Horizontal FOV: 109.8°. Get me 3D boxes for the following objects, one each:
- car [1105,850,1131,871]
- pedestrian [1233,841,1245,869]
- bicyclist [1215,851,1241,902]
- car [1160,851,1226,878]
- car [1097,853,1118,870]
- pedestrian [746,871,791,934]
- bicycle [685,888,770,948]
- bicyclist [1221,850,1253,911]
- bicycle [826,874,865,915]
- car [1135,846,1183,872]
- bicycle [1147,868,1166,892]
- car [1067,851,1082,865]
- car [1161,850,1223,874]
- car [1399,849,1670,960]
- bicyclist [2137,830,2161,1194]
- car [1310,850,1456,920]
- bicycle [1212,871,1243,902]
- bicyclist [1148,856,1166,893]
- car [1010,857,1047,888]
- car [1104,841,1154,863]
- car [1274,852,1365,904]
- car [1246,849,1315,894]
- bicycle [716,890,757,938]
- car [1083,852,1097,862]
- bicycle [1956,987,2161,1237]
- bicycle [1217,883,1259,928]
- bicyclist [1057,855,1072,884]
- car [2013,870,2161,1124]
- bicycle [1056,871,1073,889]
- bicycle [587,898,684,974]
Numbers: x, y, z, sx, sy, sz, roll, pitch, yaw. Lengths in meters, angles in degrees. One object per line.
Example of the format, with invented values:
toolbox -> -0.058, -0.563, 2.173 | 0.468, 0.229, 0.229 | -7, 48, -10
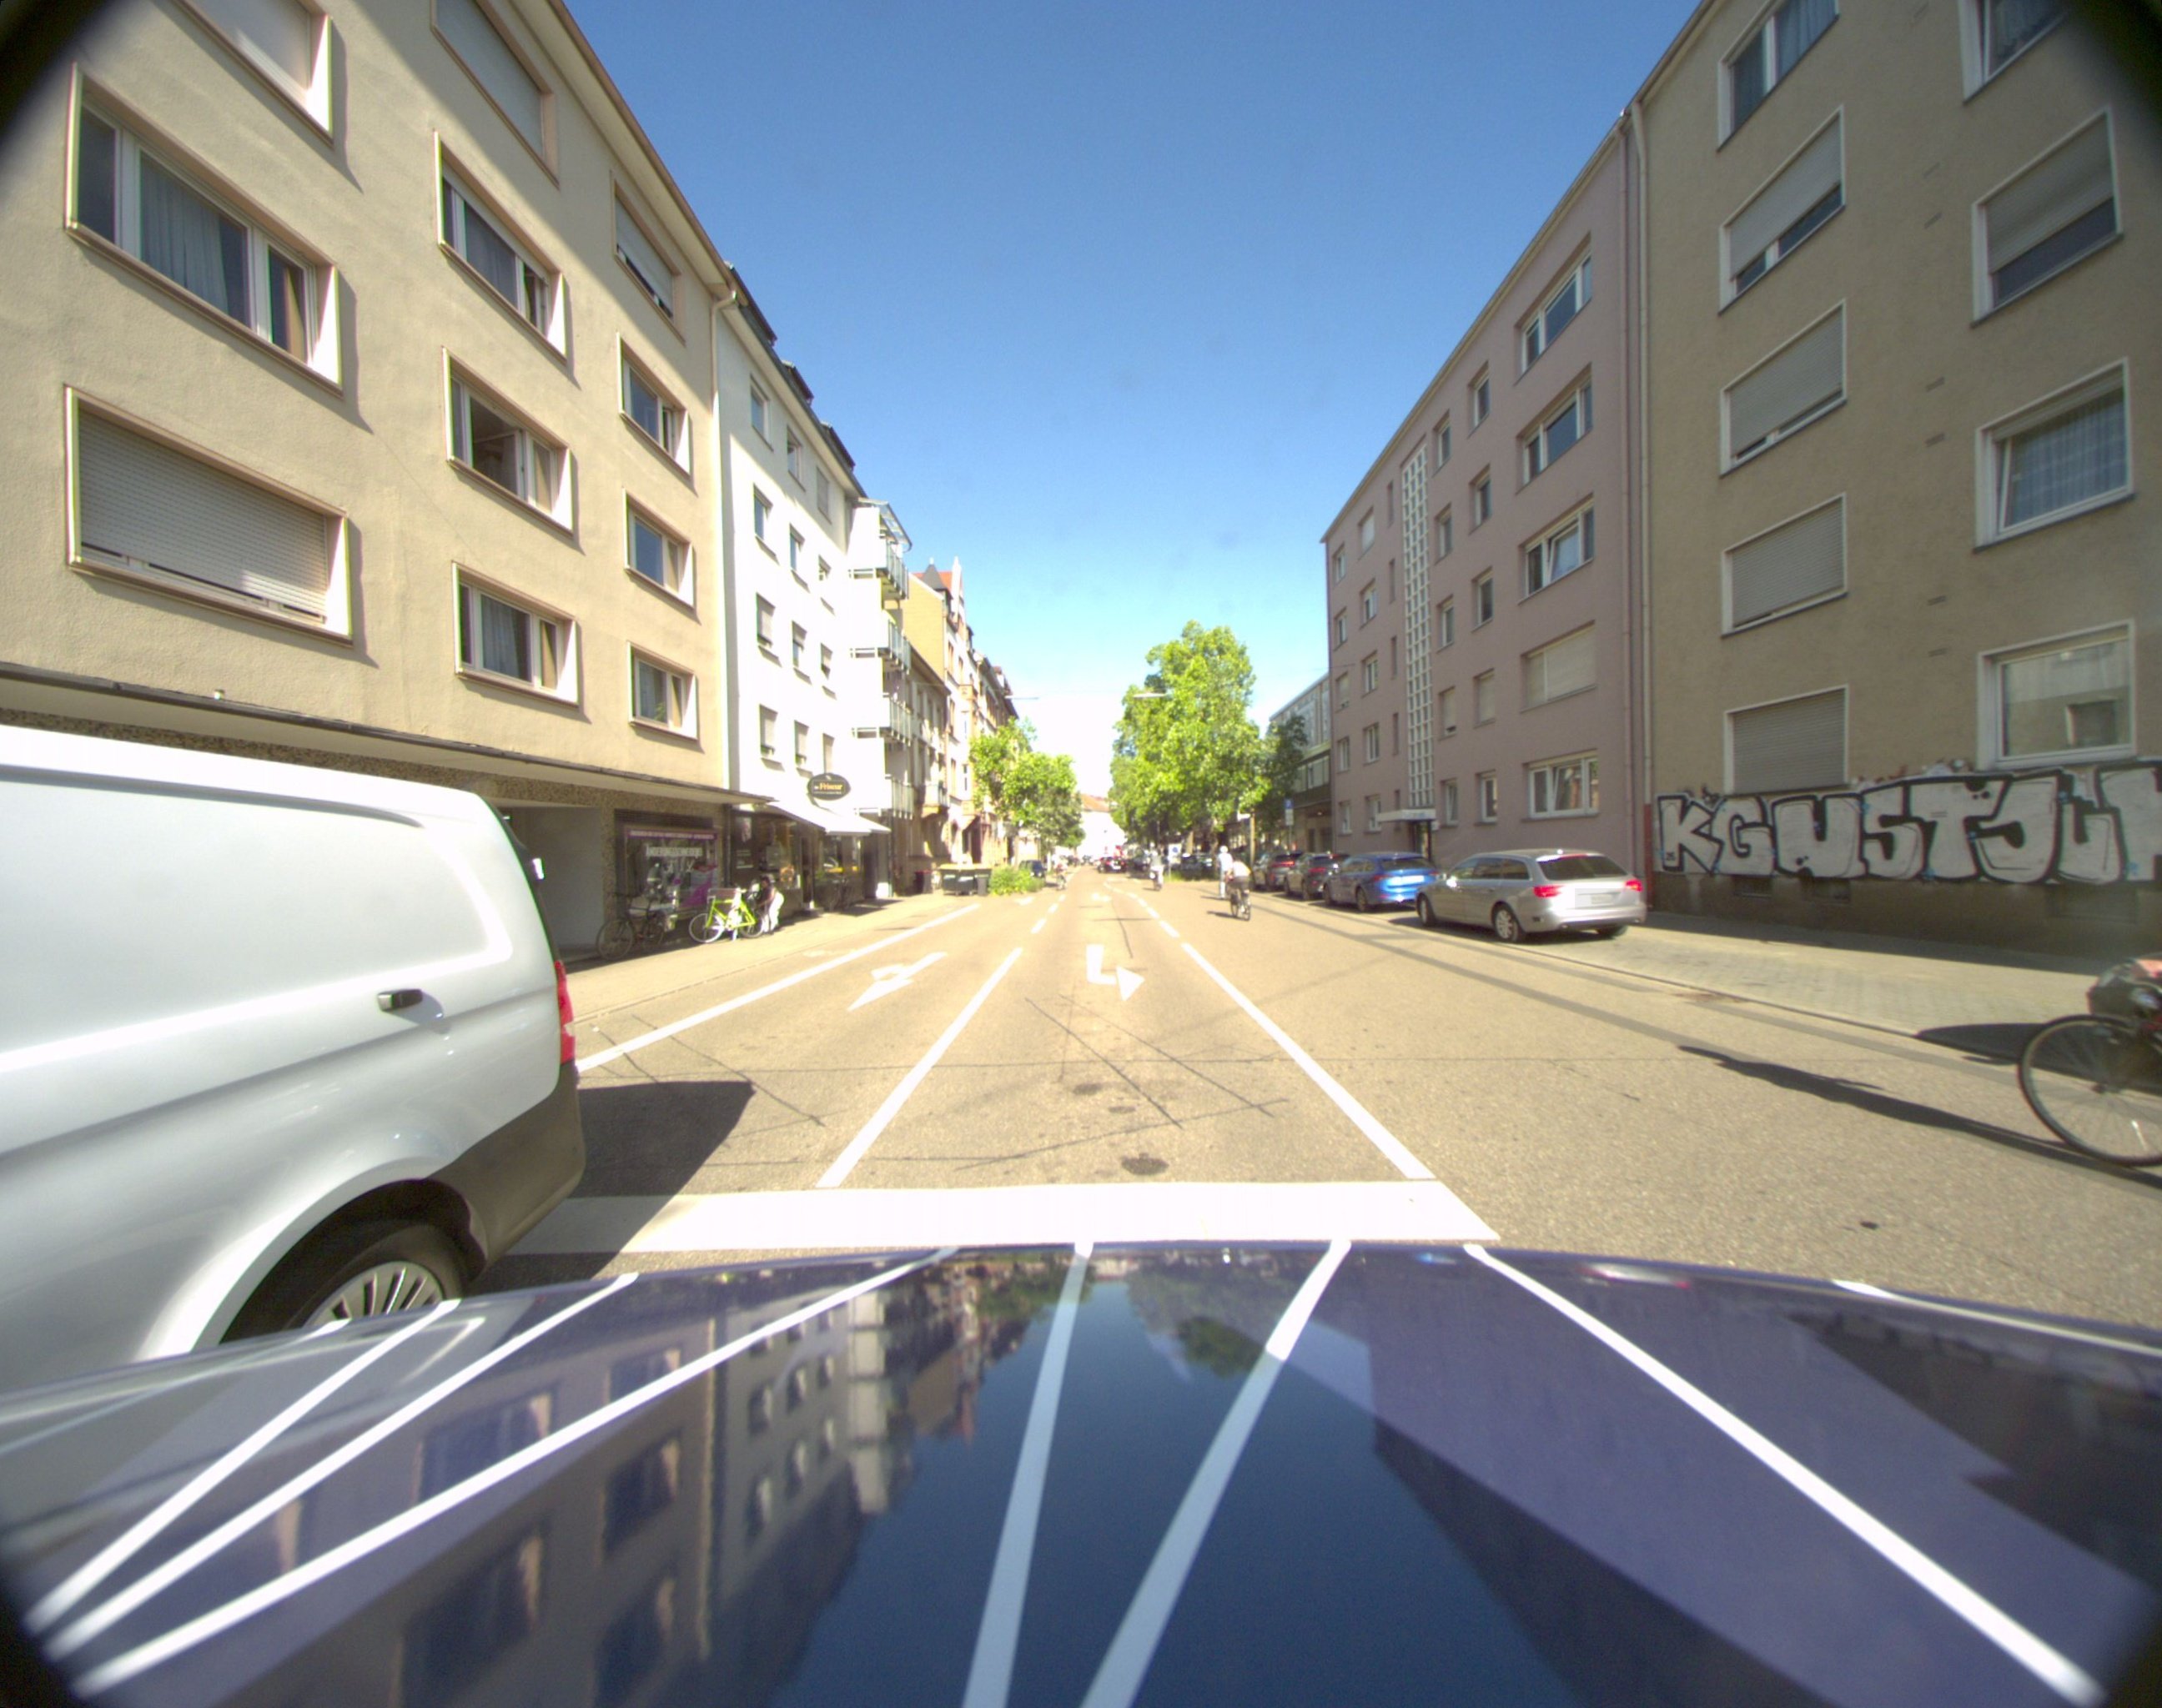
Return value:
car -> 2.962, 0.511, 62.056 | 1.911, 1.543, 4.000 | -2, 0, 1
pedestrian -> 10.078, 0.078, 48.506 | 0.623, 1.795, 0.502 | -2, 1, 2
bicyclist -> 4.790, 0.719, 24.807 | 0.681, 1.621, 0.899 | 0, 1, 1
car -> 7.097, 0.655, 48.456 | 3.996, 1.543, 1.913 | -2, 0, 3
car -> 2.451, 0.671, 71.224 | 1.911, 1.543, 4.000 | -2, 0, 1
pedestrian -> -7.346, 1.127, 17.894 | 0.776, 1.434, 0.625 | -1, 1, -4
bicycle -> -7.301, 1.292, 15.715 | 1.497, 1.100, 0.722 | -2, 1, -31
bicyclist -> 3.631, 0.612, 17.738 | 0.544, 1.383, 0.788 | -1, 1, -2
bicycle -> -7.278, 1.227, 23.517 | 0.598, 1.137, 1.774 | 1, 0, 1
car -> 6.417, 0.427, 62.919 | 3.875, 2.031, 1.913 | -2, 0, 3
bicycle -> 3.255, 1.119, 32.796 | 0.681, 0.946, 1.933 | 0, 0, 1
car -> -0.786, 0.464, 93.954 | 1.627, 1.586, 3.547 | -2, 0, 1
car -> 7.540, 0.547, 51.980 | 3.996, 1.543, 1.913 | -2, 0, 3
car -> 7.551, 0.722, 13.372 | 1.828, 1.494, 4.801 | -4, 0, 0
bicyclist -> 4.743, 0.652, 2.828 | 0.544, 1.512, 0.774 | -1, 1, 1
car -> 7.700, 0.712, 19.921 | 1.828, 1.494, 4.801 | -4, 0, 0
bicycle -> 4.787, 1.048, 24.876 | 0.681, 0.946, 1.933 | 0, 0, 1
bicyclist -> 3.257, 0.857, 32.659 | 0.681, 1.567, 0.899 | 0, 1, 1
car -> -2.820, 0.967, 41.350 | 1.627, 1.586, 3.547 | -2, 0, 1
car -> 5.712, -0.262, 90.610 | 5.565, 2.379, 1.975 | -2, 1, -17
car -> 7.652, 0.717, 24.768 | 1.727, 1.459, 4.158 | -4, 0, 3
car -> 7.837, 0.653, 30.195 | 1.727, 1.567, 4.158 | -4, 0, 3
bicycle -> -7.703, 1.324, 17.043 | 0.376, 0.977, 1.175 | -1, 0, -1
car -> 1.247, 0.447, 103.543 | 1.627, 1.270, 3.547 | -2, 0, 3
bicycle -> 4.756, 1.141, 2.989 | 0.544, 0.897, 1.826 | -1, 0, 1
bicycle -> 3.644, 1.175, 17.751 | 0.544, 0.897, 1.826 | -1, 0, -2
bicyclist -> -0.800, 0.733, 36.482 | 0.582, 1.369, 0.665 | -1, 1, 6
car -> 7.236, 0.840, 3.255 | 1.695, 1.440, 3.856 | -4, 0, 0
bicycle -> -0.780, 1.245, 36.554 | 0.582, 0.801, 1.710 | -1, 0, 6
bicycle -> -7.492, 1.337, 12.857 | 0.407, 1.078, 1.801 | 1, 0, 6
